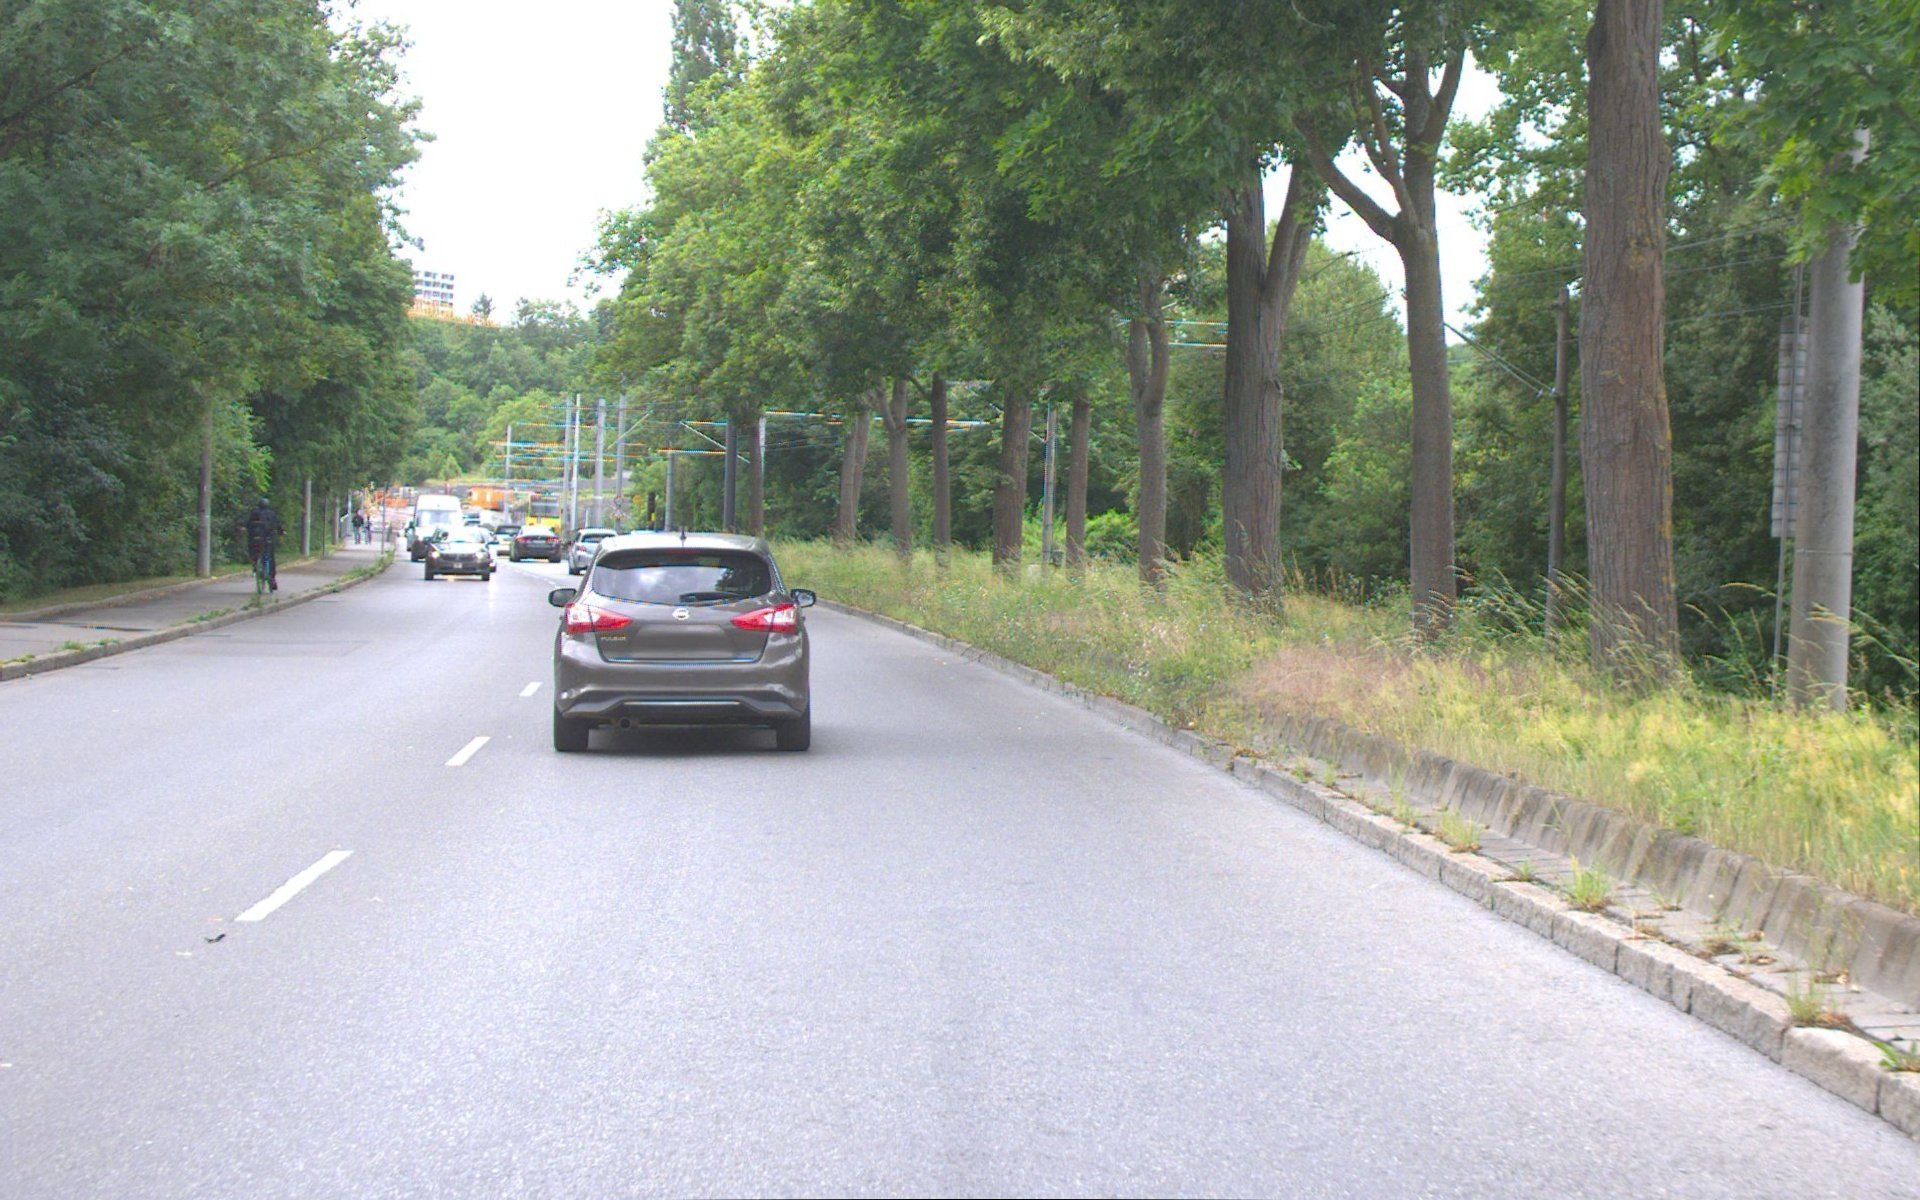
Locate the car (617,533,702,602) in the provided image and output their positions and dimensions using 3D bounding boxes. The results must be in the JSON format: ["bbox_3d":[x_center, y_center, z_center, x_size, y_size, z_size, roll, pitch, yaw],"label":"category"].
[{"bbox_3d":[-7.424,-0.814,84.674,1.775,1.467,4.001,4,2,-8],"label":"car"}]

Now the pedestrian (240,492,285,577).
[{"bbox_3d":[-13.195,-1.243,65.031,0.617,1.566,0.849,4,2,-3],"label":"pedestrian"}]

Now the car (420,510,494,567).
[{"bbox_3d":[-13.829,-1.698,94.648,1.749,1.459,3.921,3,1,-5],"label":"car"}]

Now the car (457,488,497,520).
[{"bbox_3d":[-24.719,-4.934,176.001,1.775,1.467,4.001,4,2,-6],"label":"car"}]

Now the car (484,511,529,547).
[{"bbox_3d":[-20.095,-3.168,152.584,1.775,1.467,4.001,2,2,-6],"label":"car"}]

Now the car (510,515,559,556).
[{"bbox_3d":[-17.124,-2.624,138.506,1.775,1.467,4.001,4,2,-6],"label":"car"}]

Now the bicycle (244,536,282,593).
[{"bbox_3d":[-13.192,-0.680,65.089,0.488,1.027,1.124,4,2,-3],"label":"bicycle"}]

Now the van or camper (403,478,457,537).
[{"bbox_3d":[-20.656,-3.622,134.148,1.925,2.143,3.933,3,2,-9],"label":"van or camper"}]

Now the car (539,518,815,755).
[{"bbox_3d":[-2.026,0.196,24.958,1.816,1.503,4.001,1,2,-4],"label":"car"}]

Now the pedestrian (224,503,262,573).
[{"bbox_3d":[-16.912,-1.464,81.066,0.695,1.616,0.684,4,2,-4],"label":"pedestrian"}]

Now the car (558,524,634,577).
[{"bbox_3d":[-11.769,-1.598,110.845,1.775,1.467,4.002,3,2,-15],"label":"car"}]
